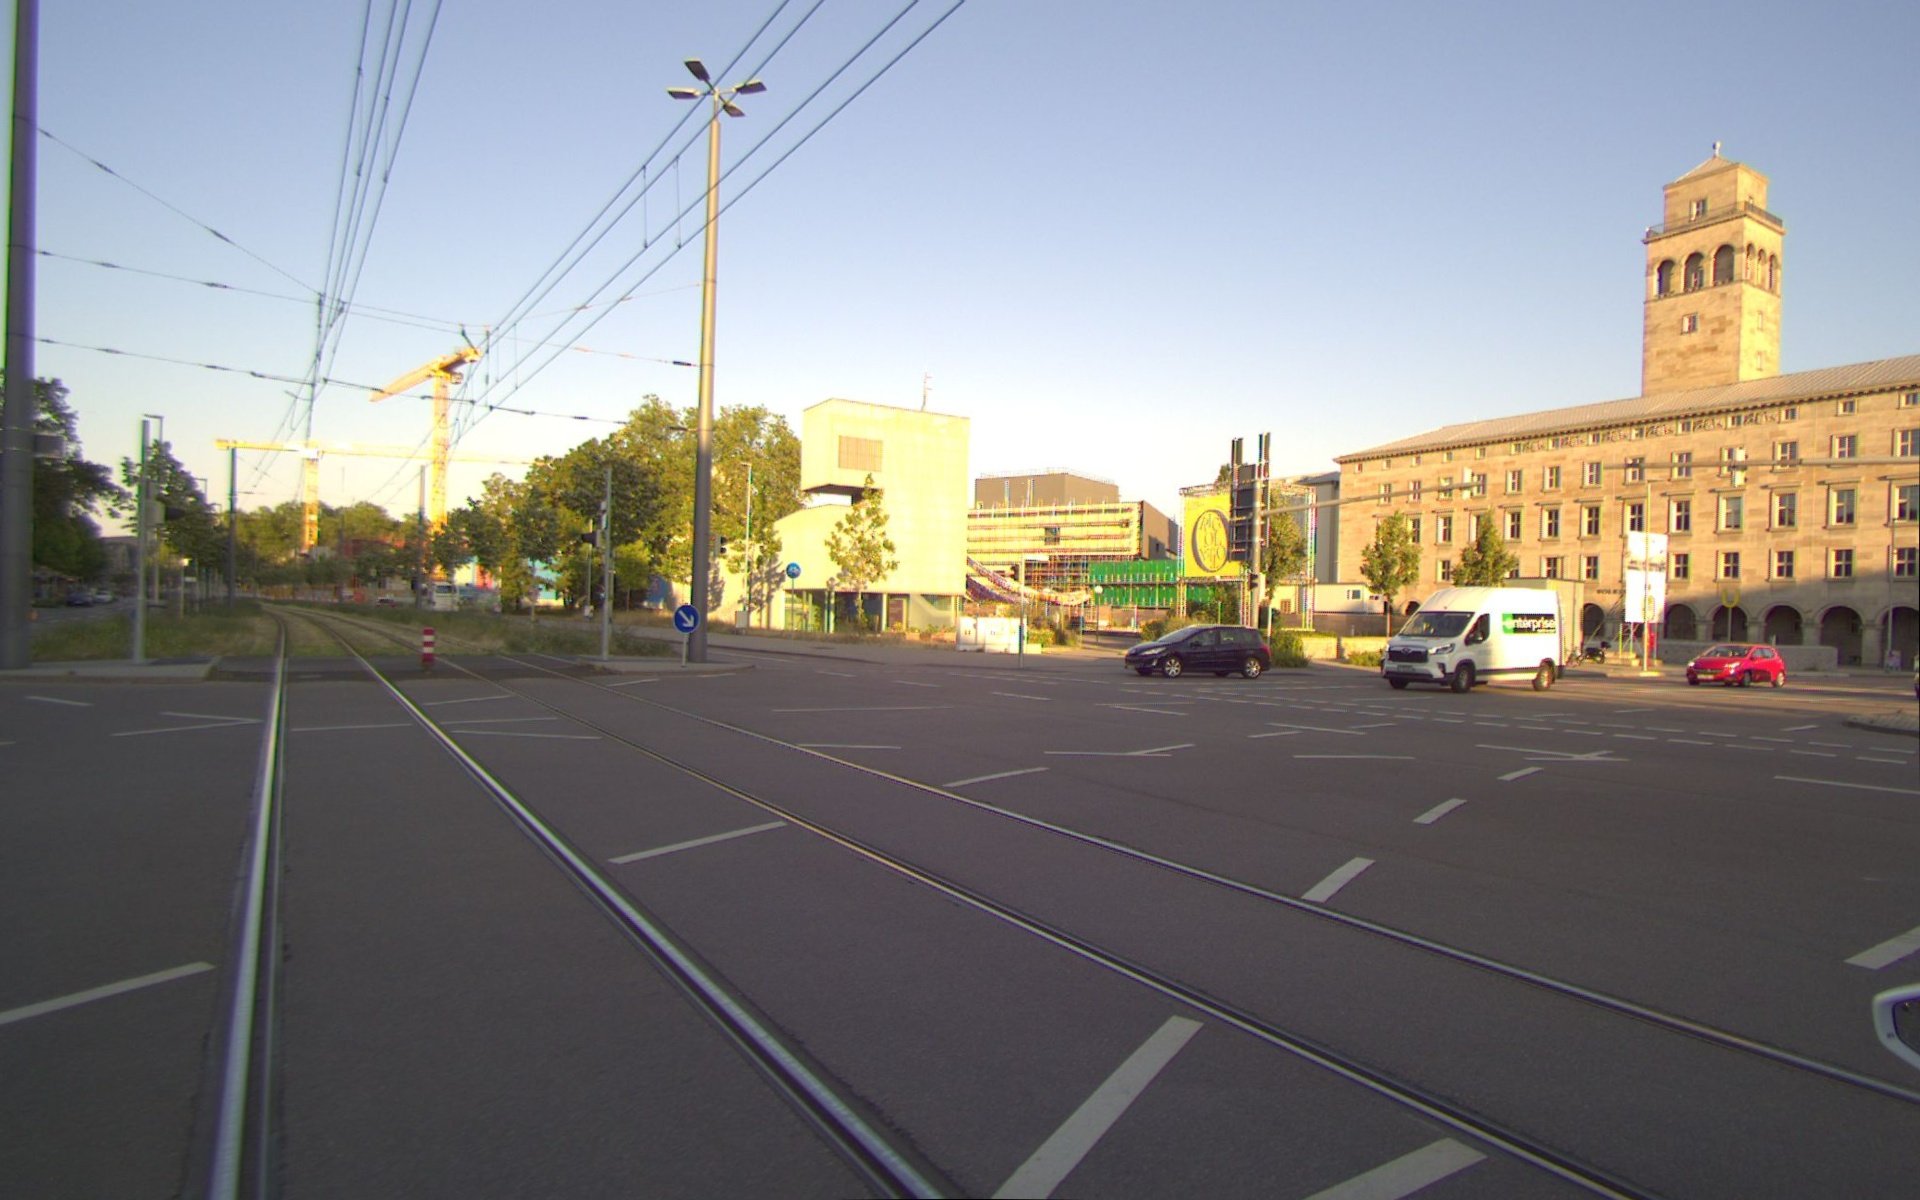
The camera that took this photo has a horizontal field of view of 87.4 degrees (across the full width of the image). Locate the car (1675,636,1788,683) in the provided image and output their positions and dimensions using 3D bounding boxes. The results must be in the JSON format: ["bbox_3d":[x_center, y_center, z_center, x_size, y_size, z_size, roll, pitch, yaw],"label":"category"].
[{"bbox_3d":[26.839,2.054,34.931,3.952,1.507,1.730,2,0,-30],"label":"car"}]

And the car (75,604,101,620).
[{"bbox_3d":[-89.242,1.209,102.830,1.726,1.605,4.542,1,-1,-37],"label":"car"}]

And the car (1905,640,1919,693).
[{"bbox_3d":[27.060,1.802,26.643,3.952,1.359,1.814,2,0,-30],"label":"car"}]

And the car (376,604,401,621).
[{"bbox_3d":[-59.595,1.298,104.738,1.726,1.605,4.420,1,-1,-37],"label":"car"}]

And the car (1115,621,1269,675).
[{"bbox_3d":[6.803,1.402,29.475,4.097,1.486,1.819,2,0,-22],"label":"car"}]

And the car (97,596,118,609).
[{"bbox_3d":[-106.297,0.267,125.300,1.726,1.605,4.542,1,-1,-37],"label":"car"}]

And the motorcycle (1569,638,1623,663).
[{"bbox_3d":[34.058,2.709,53.820,0.819,1.212,2.292,2,0,-37],"label":"motorcycle"}]

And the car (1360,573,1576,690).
[{"bbox_3d":[13.606,0.857,26.781,6.014,2.813,2.267,2,-1,-31],"label":"car"}]

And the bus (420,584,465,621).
[{"bbox_3d":[-56.976,0.235,110.527,2.961,3.818,10.335,2,-1,-35],"label":"bus"}]
